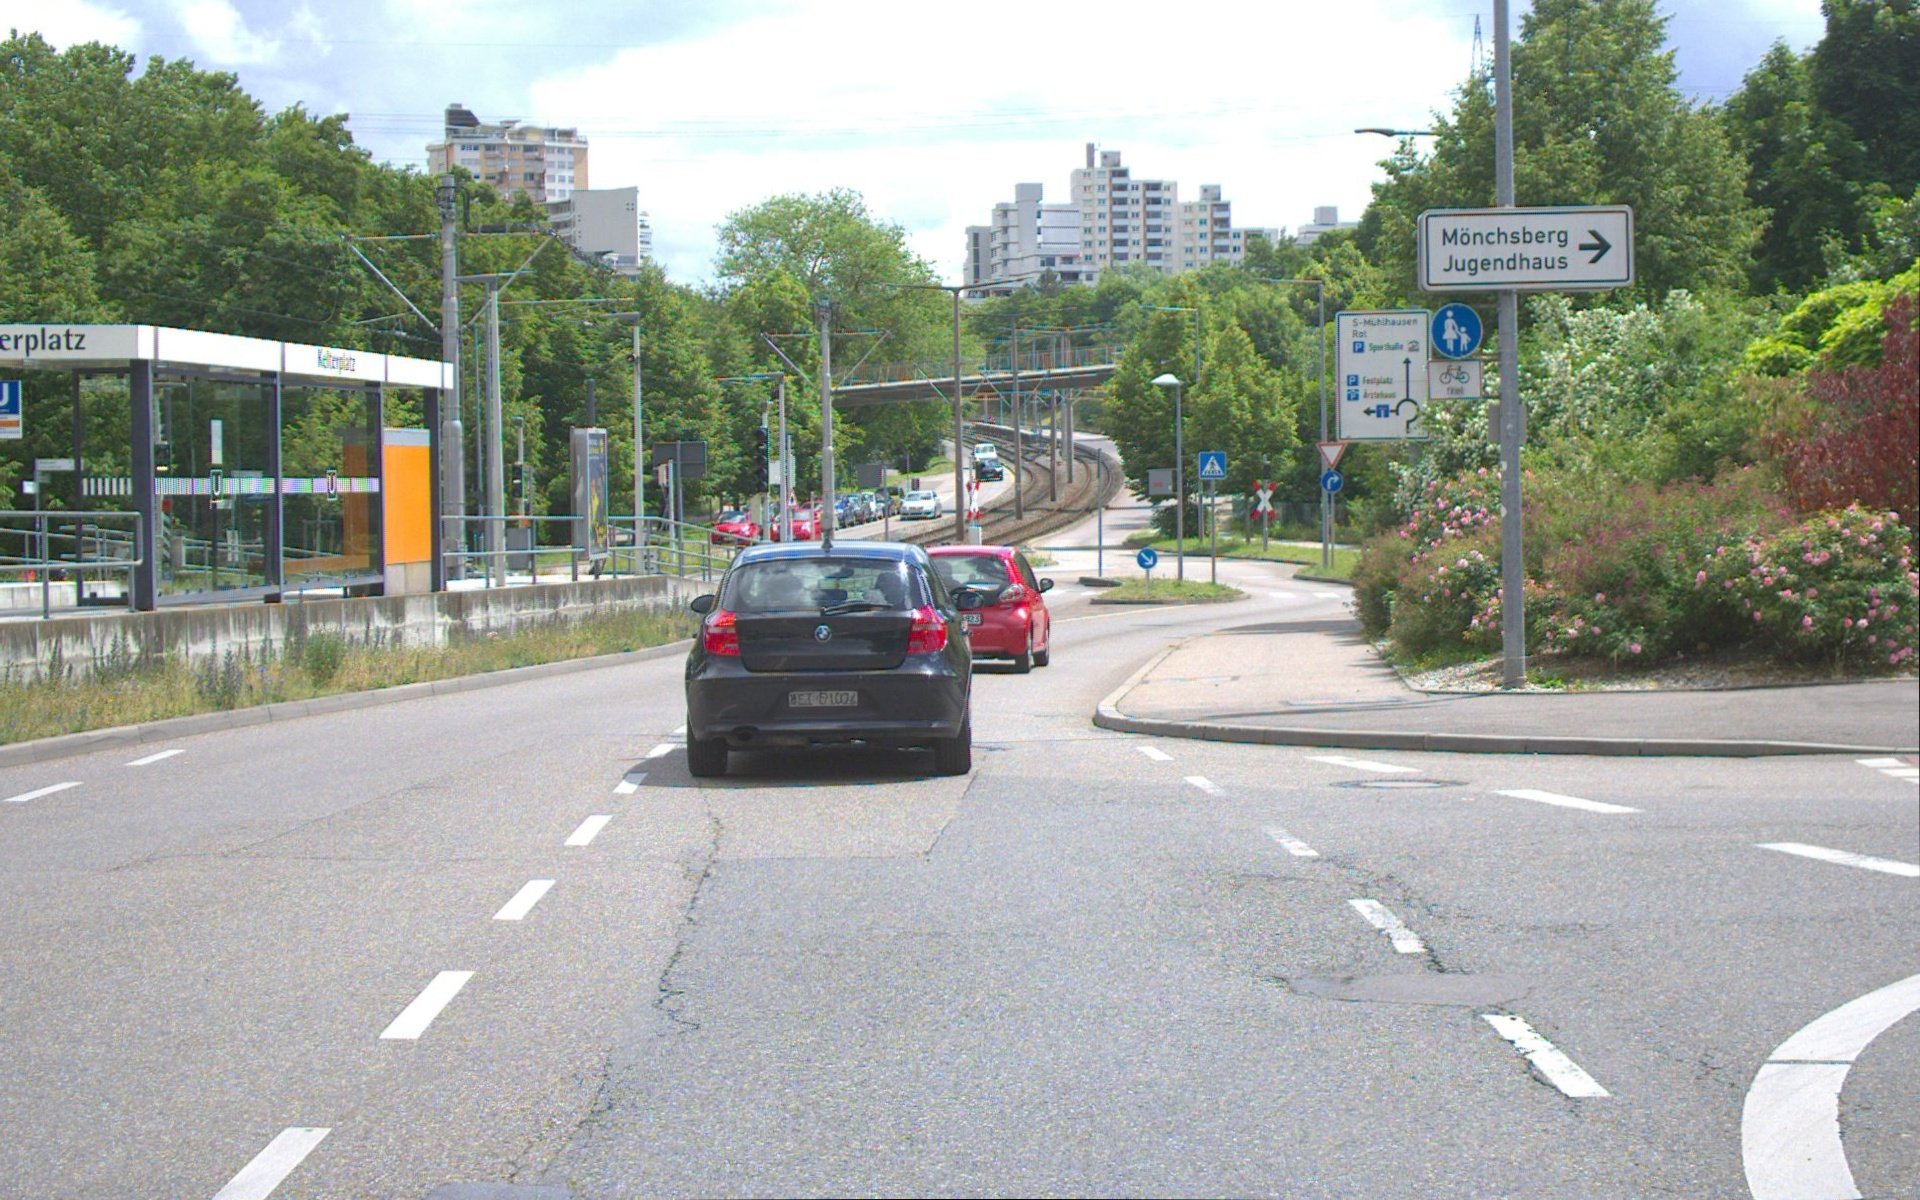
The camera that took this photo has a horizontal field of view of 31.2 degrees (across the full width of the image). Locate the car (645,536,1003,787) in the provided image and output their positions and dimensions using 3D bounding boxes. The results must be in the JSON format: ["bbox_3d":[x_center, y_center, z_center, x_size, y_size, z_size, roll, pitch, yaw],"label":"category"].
[{"bbox_3d":[-0.766,0.342,21.873,1.815,1.416,3.999,-1,0,4],"label":"car"}]

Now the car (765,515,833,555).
[{"bbox_3d":[-6.375,-2.583,136.037,1.721,1.497,2.964,0,2,18],"label":"car"}]

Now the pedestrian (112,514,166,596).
[{"bbox_3d":[-20.442,-1.129,85.637,0.961,2.006,0.821,1,3,25],"label":"pedestrian"}]

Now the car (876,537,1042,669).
[{"bbox_3d":[0.029,0.006,40.149,1.766,1.427,3.479,-1,1,2],"label":"car"}]

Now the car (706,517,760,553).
[{"bbox_3d":[-9.153,-2.628,138.742,1.528,1.366,3.596,-1,2,6],"label":"car"}]
